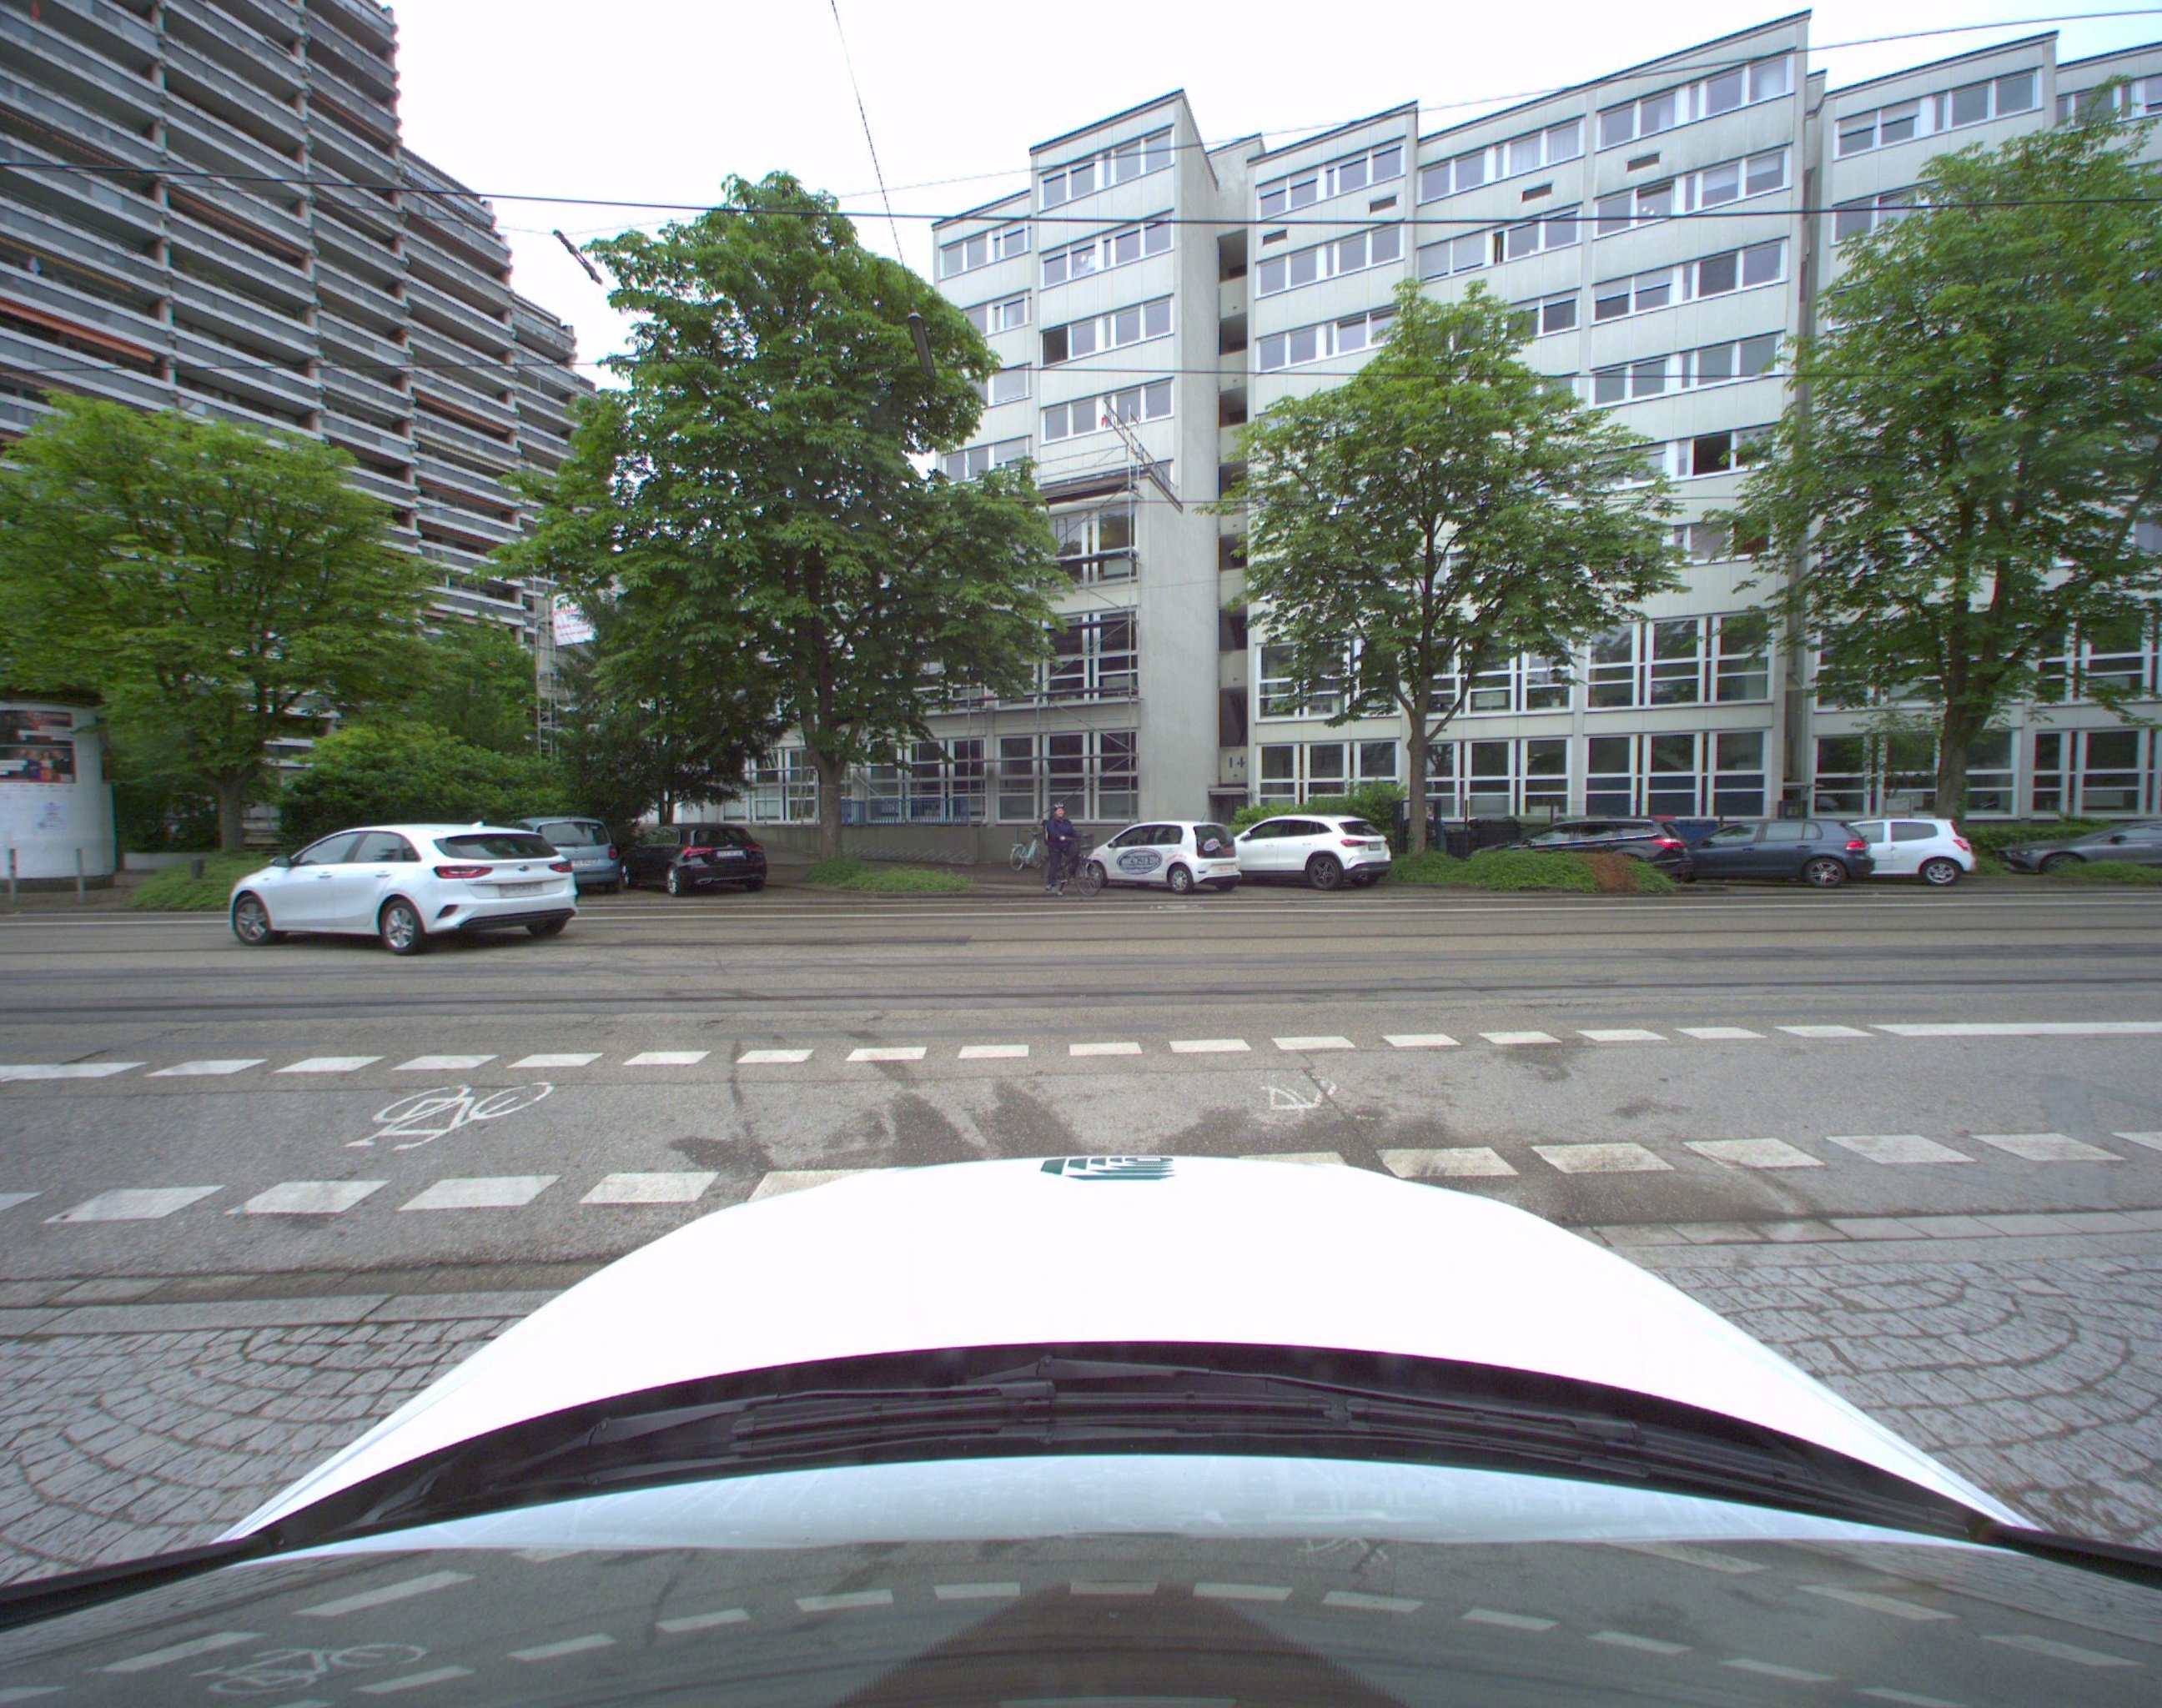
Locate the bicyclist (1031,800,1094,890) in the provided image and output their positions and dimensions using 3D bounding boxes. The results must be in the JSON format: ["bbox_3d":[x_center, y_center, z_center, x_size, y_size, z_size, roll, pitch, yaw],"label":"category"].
[{"bbox_3d":[-0.359,-0.187,15.830,0.839,1.697,0.886,-2,2,-44],"label":"bicyclist"}]

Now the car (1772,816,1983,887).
[{"bbox_3d":[18.008,-0.082,18.565,3.348,1.473,1.425,1,2,45],"label":"car"}]

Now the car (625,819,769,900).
[{"bbox_3d":[-8.045,0.059,16.967,3.295,1.510,1.628,0,2,44],"label":"car"}]

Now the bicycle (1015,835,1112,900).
[{"bbox_3d":[-0.361,0.226,15.834,0.826,1.174,1.892,-2,2,-44],"label":"bicycle"}]

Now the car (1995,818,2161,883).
[{"bbox_3d":[24.680,-0.069,18.921,4.441,1.474,1.425,0,-1,41],"label":"car"}]

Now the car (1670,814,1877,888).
[{"bbox_3d":[15.081,-0.089,17.839,3.348,1.473,1.425,1,2,45],"label":"car"}]

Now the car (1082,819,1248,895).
[{"bbox_3d":[1.737,0.025,17.564,1.565,1.473,3.367,-2,2,-43],"label":"car"}]

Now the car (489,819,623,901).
[{"bbox_3d":[-10.988,0.060,16.964,3.296,1.536,1.628,2,3,44],"label":"car"}]

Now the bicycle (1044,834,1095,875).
[{"bbox_3d":[-0.310,-0.015,23.475,0.638,1.074,2.324,0,2,21],"label":"bicycle"}]

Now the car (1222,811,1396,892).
[{"bbox_3d":[4.948,-0.096,17.968,1.565,1.618,3.367,-2,2,-43],"label":"car"}]

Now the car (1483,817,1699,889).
[{"bbox_3d":[11.440,-0.060,18.401,3.904,1.473,1.684,0,2,41],"label":"car"}]

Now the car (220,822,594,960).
[{"bbox_3d":[-8.288,0.335,10.068,3.932,1.432,1.791,1,2,20],"label":"car"}]

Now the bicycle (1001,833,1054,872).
[{"bbox_3d":[-1.542,-0.076,23.979,0.638,1.074,2.324,0,2,21],"label":"bicycle"}]
